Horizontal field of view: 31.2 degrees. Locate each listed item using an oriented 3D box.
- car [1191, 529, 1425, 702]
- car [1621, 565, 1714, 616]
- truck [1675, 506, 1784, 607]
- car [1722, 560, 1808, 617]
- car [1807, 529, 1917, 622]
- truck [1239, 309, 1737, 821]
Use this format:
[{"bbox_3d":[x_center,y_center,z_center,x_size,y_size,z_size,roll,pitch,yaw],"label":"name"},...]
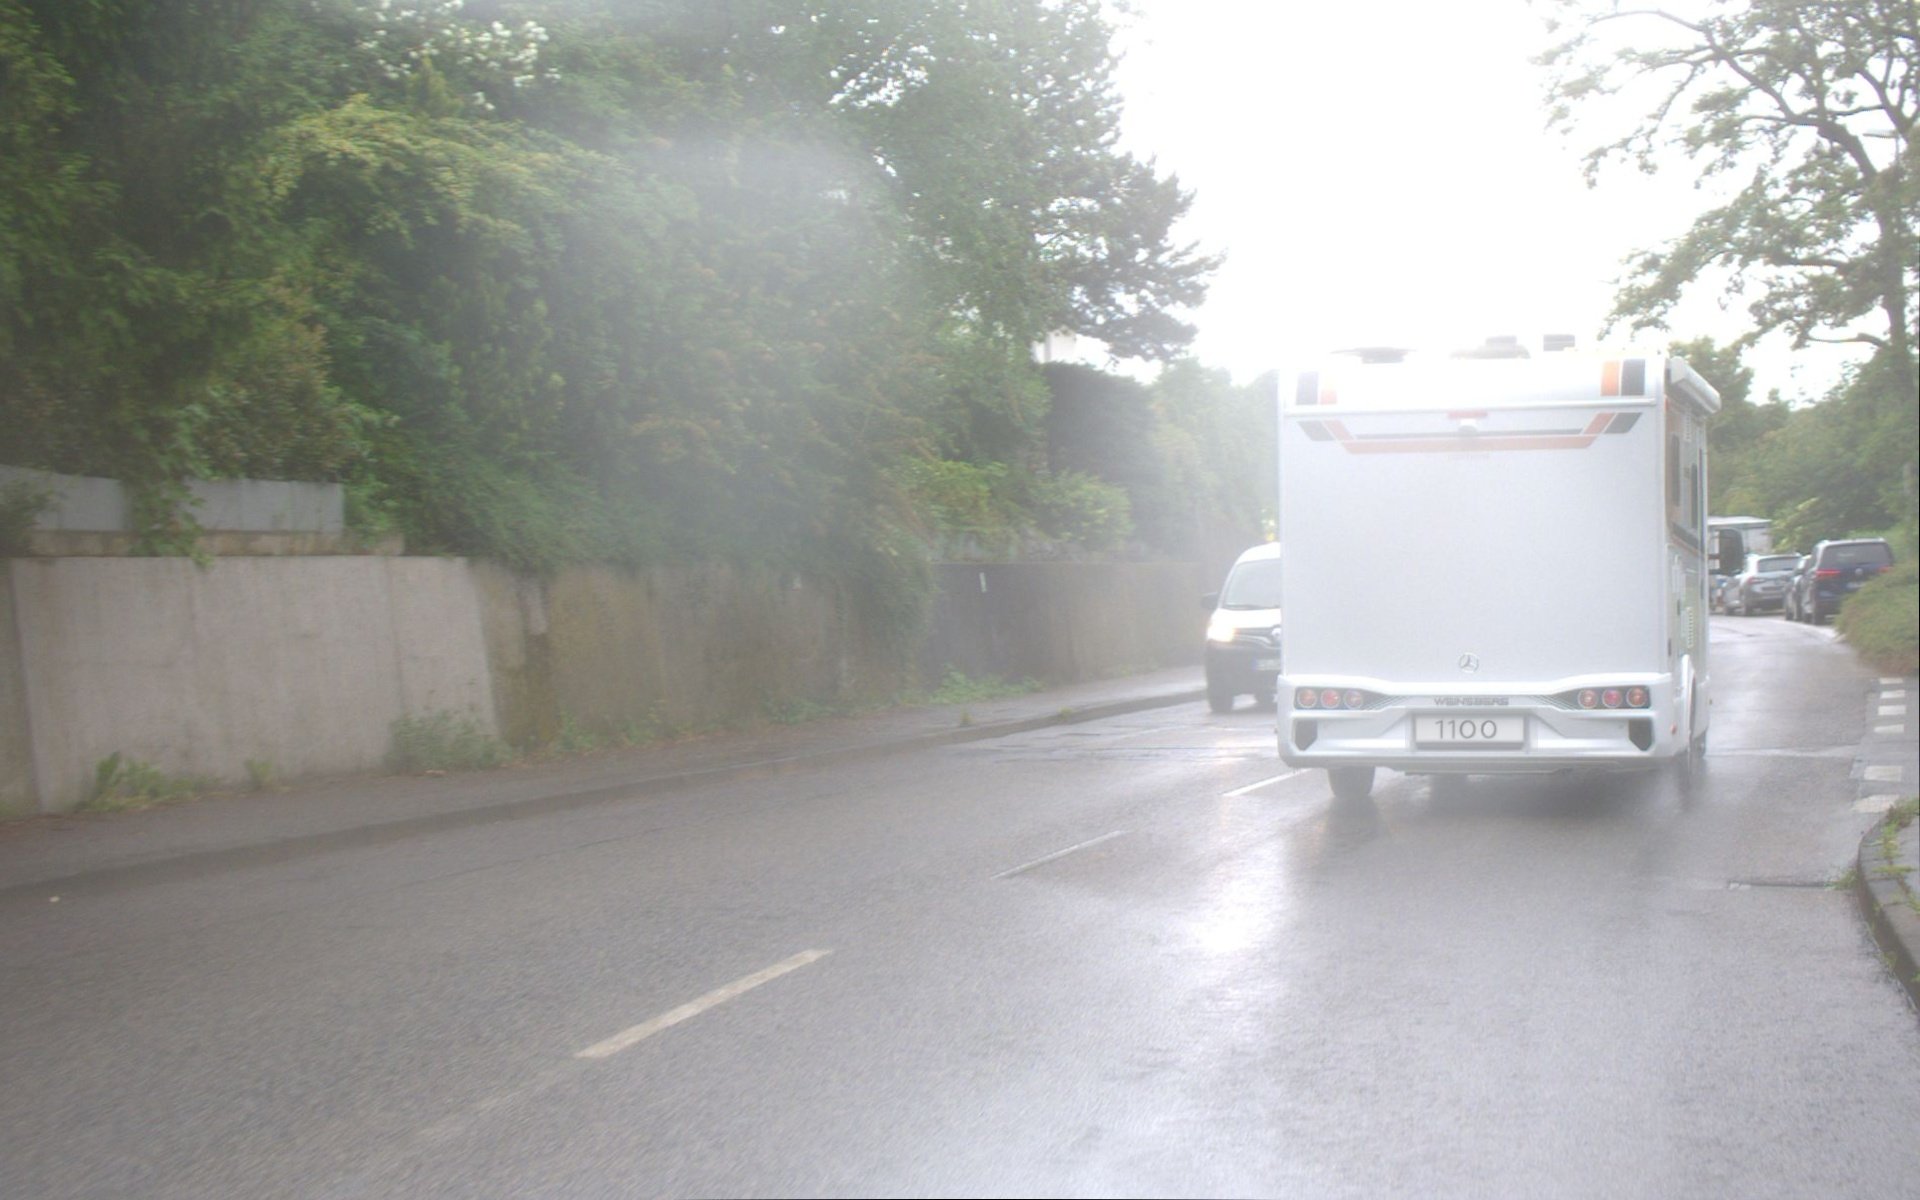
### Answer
[{"bbox_3d":[3.858,0.129,37.483,1.841,1.749,4.417,1,1,15],"label":"car"},{"bbox_3d":[20.502,-0.291,99.713,1.687,1.459,3.386,0,0,-6],"label":"car"},{"bbox_3d":[20.121,-1.123,90.085,1.994,2.565,4.833,0,0,3],"label":"truck"},{"bbox_3d":[19.490,-0.292,83.372,1.540,1.322,3.999,-1,1,6],"label":"car"},{"bbox_3d":[18.000,-0.462,68.513,1.995,1.634,3.997,2,-1,16],"label":"car"},{"bbox_3d":[3.604,-0.223,22.197,2.517,2.808,6.197,0,1,15],"label":"truck"}]
